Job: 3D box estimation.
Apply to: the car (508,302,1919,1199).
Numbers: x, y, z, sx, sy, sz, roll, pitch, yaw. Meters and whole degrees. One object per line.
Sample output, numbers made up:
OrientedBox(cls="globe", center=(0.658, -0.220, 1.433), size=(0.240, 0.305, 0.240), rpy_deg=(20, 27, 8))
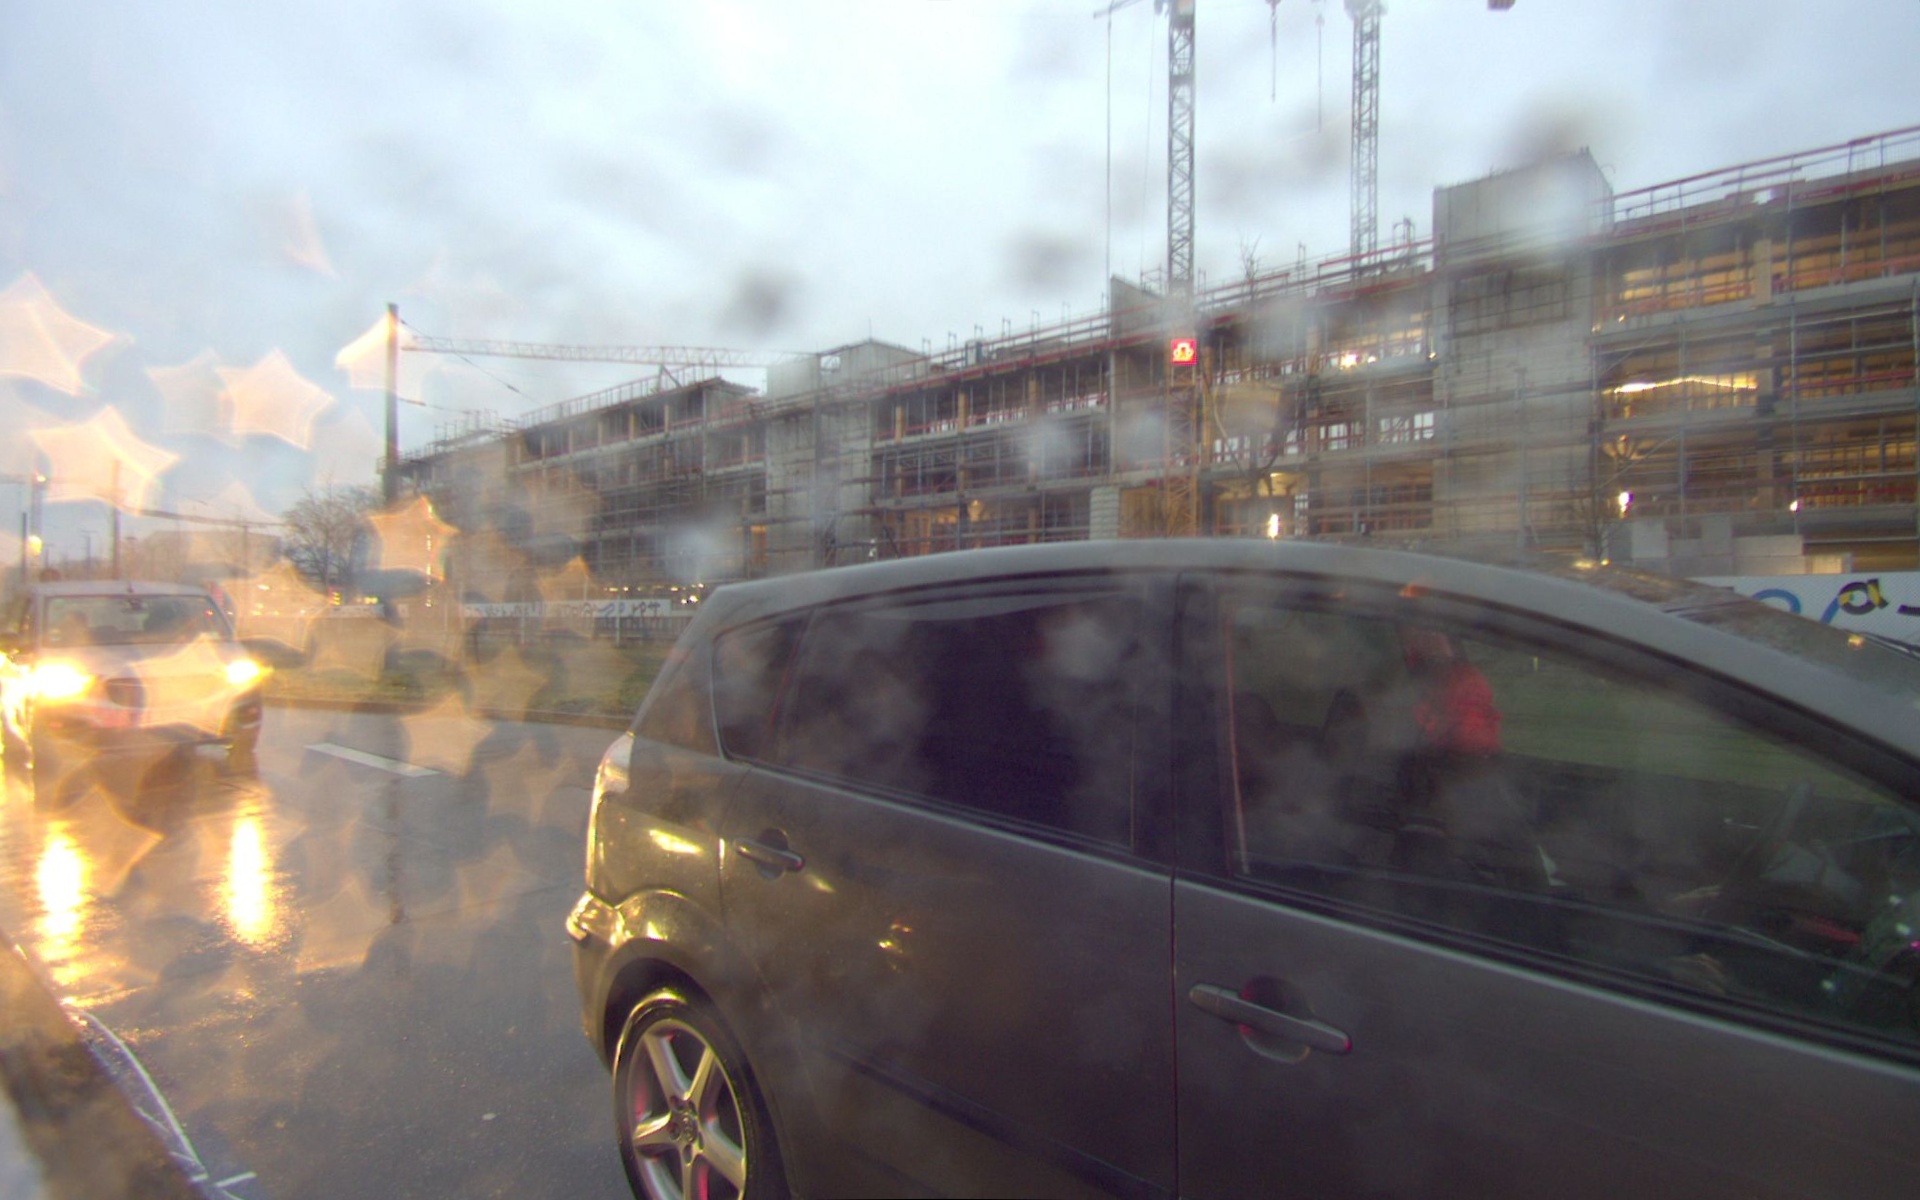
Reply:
OrientedBox(cls="car", center=(1.014, 0.545, 1.838), size=(3.996, 1.606, 1.742), rpy_deg=(-1, 0, 39))

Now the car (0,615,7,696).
OrientedBox(cls="car", center=(-21.871, 1.161, 20.600), size=(4.289, 1.666, 1.834), rpy_deg=(-1, 0, 19))

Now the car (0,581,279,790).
OrientedBox(cls="car", center=(-8.705, 0.725, 10.467), size=(3.999, 1.746, 1.834), rpy_deg=(-1, 0, 42))

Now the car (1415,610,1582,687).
OrientedBox(cls="car", center=(16.386, 1.399, 30.909), size=(1.930, 2.139, 4.087), rpy_deg=(-1, 0, -44))

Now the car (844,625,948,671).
OrientedBox(cls="car", center=(-2.682, 1.940, 41.898), size=(4.079, 1.700, 1.934), rpy_deg=(-1, 0, 39))

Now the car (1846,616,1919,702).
OrientedBox(cls="car", center=(20.729, 1.187, 20.523), size=(4.084, 1.700, 1.931), rpy_deg=(-1, 0, 43))
